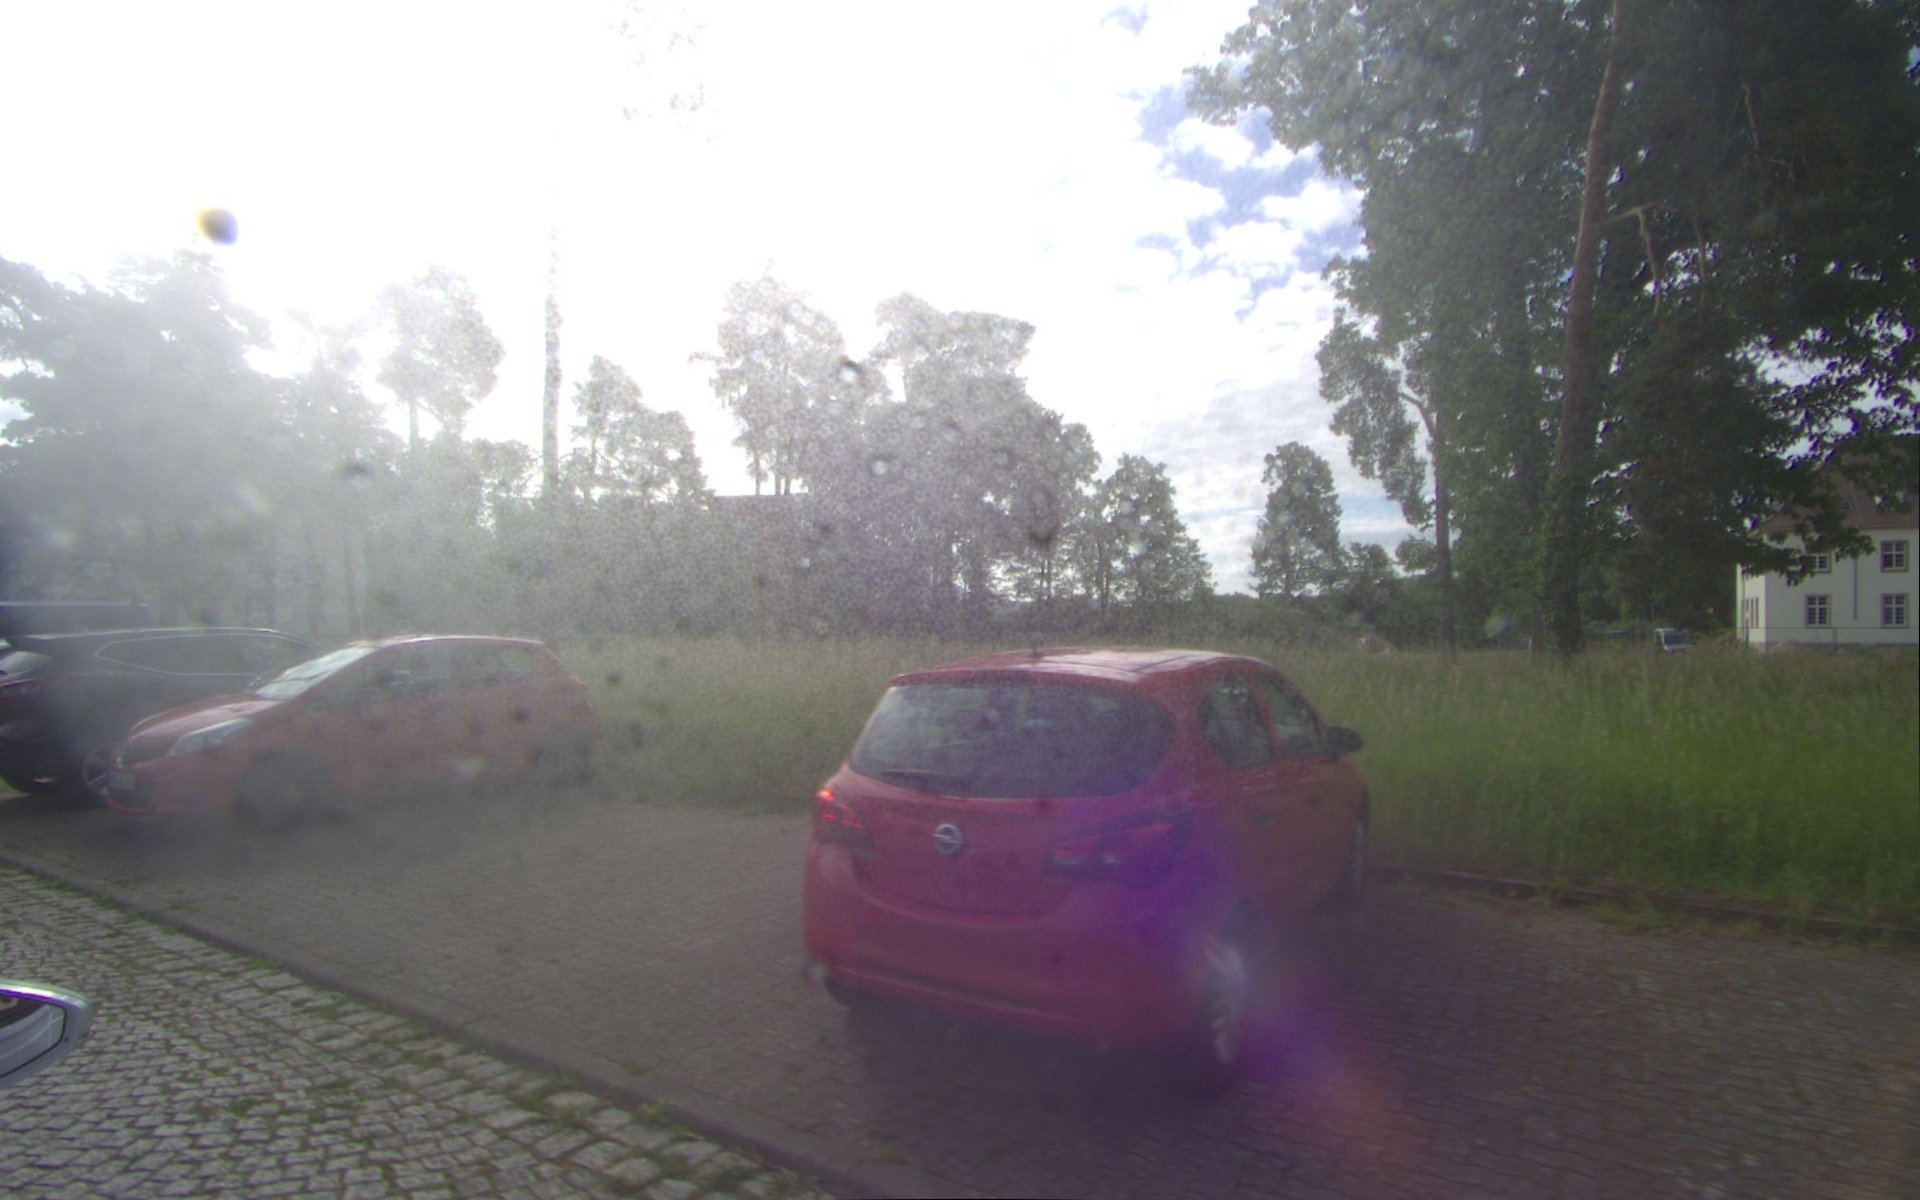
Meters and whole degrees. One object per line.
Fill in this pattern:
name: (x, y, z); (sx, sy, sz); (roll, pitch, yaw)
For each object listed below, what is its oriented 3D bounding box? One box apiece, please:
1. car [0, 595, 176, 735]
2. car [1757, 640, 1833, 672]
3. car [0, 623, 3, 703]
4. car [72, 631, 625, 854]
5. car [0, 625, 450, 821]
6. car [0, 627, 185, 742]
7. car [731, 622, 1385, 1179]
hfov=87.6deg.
car: (-14.982, 0.957, 15.025); (1.712, 2.066, 4.777); (0, -2, 30)
car: (56.151, 3.787, 67.492); (2.446, 2.038, 5.822); (-1, -3, 24)
car: (-19.624, 1.146, 17.912); (1.639, 1.524, 3.289); (0, -2, 30)
car: (-5.252, 1.071, 9.156); (1.713, 1.538, 3.980); (0, -2, 32)
car: (-7.618, 1.080, 10.259); (1.736, 1.600, 3.946); (0, -2, 31)
car: (-13.040, 1.121, 13.541); (1.629, 1.442, 3.718); (0, 0, 30)
car: (0.868, 0.886, 4.893); (1.713, 1.525, 3.833); (0, -1, 31)
